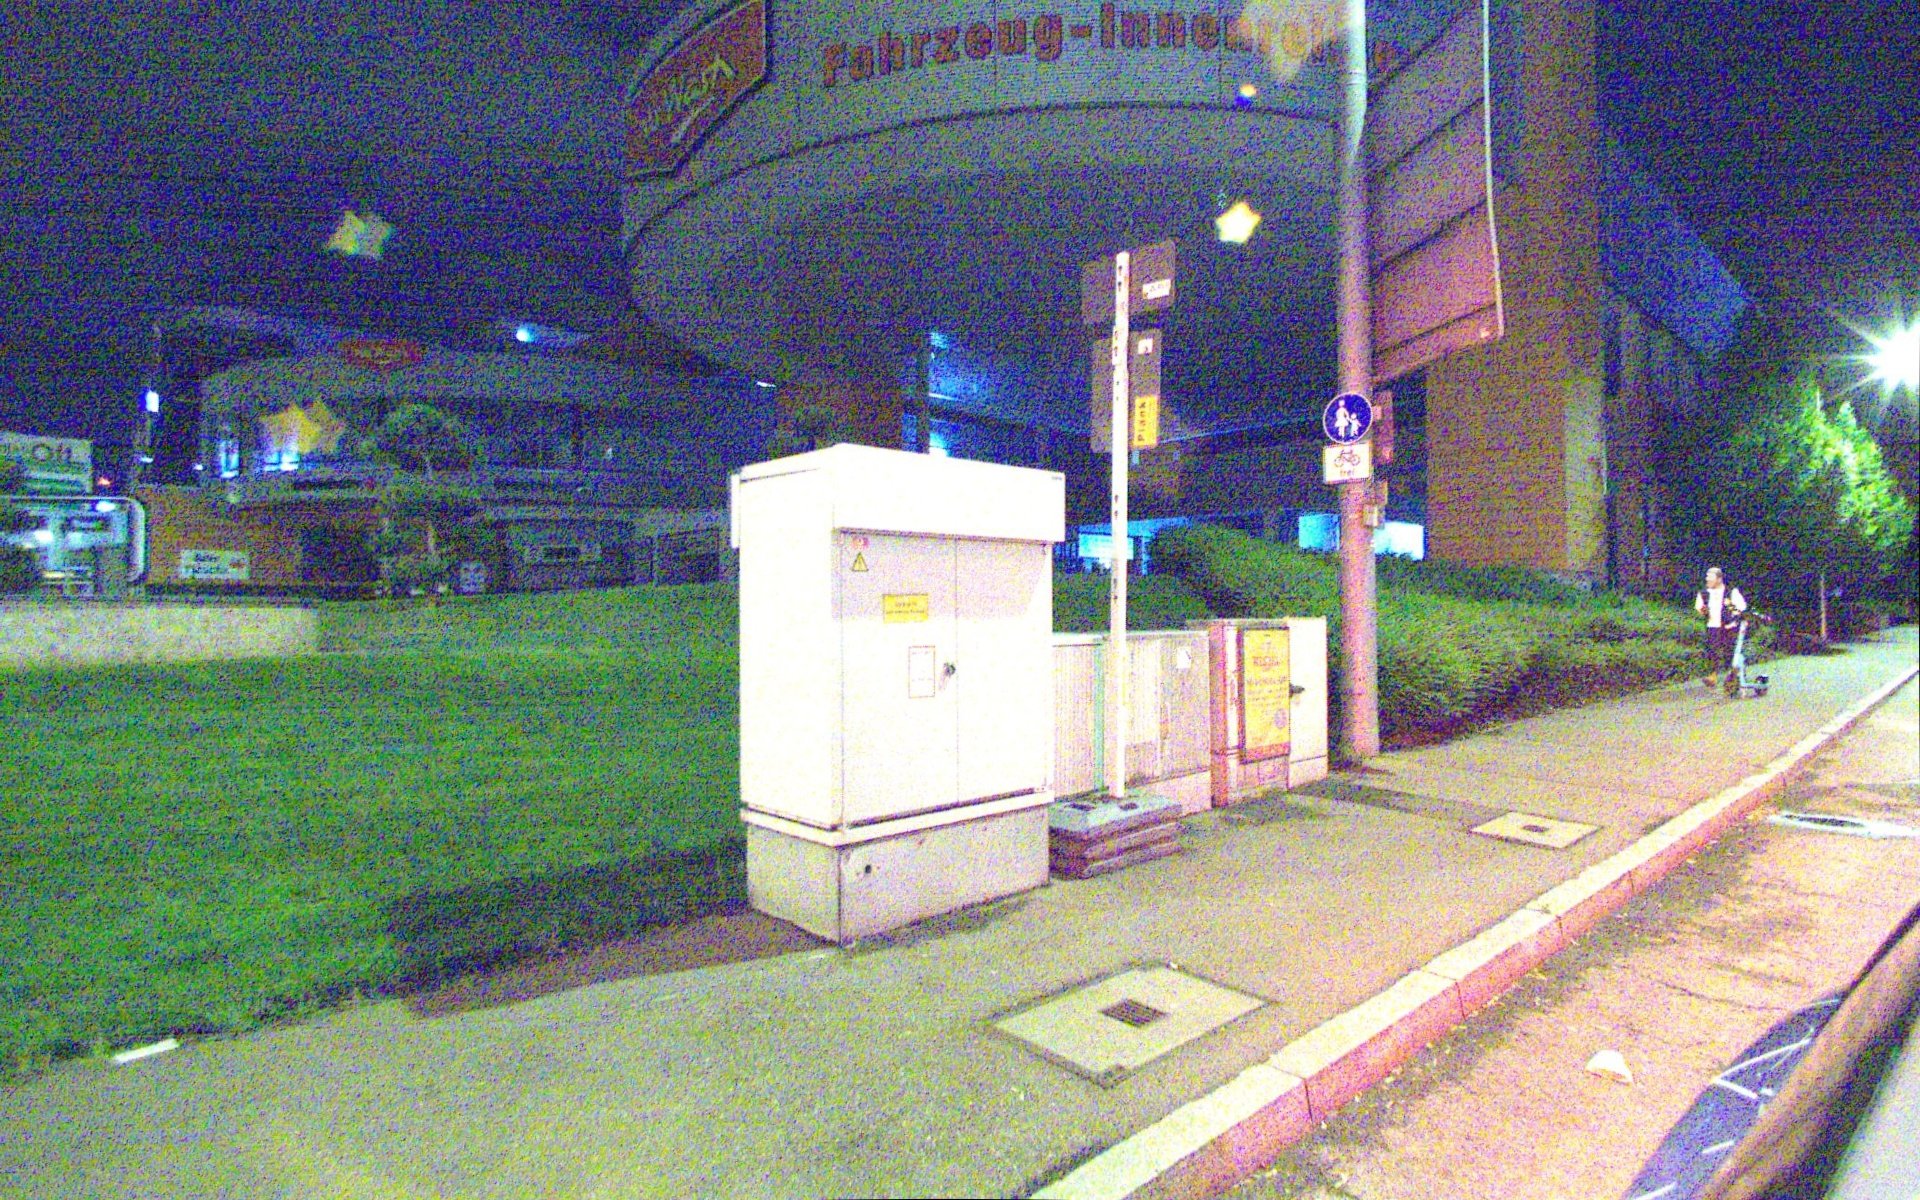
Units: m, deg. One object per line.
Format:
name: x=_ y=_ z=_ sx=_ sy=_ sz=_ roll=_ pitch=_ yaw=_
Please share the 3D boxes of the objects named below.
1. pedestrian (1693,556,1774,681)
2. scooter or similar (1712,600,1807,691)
pedestrian: x=12.123 y=0.273 z=15.855 sx=1.016 sy=1.888 sz=0.819 roll=0 pitch=0 yaw=-41
scooter or similar: x=11.022 y=0.615 z=13.951 sx=1.111 sy=1.217 sz=0.470 roll=1 pitch=-1 yaw=-17
